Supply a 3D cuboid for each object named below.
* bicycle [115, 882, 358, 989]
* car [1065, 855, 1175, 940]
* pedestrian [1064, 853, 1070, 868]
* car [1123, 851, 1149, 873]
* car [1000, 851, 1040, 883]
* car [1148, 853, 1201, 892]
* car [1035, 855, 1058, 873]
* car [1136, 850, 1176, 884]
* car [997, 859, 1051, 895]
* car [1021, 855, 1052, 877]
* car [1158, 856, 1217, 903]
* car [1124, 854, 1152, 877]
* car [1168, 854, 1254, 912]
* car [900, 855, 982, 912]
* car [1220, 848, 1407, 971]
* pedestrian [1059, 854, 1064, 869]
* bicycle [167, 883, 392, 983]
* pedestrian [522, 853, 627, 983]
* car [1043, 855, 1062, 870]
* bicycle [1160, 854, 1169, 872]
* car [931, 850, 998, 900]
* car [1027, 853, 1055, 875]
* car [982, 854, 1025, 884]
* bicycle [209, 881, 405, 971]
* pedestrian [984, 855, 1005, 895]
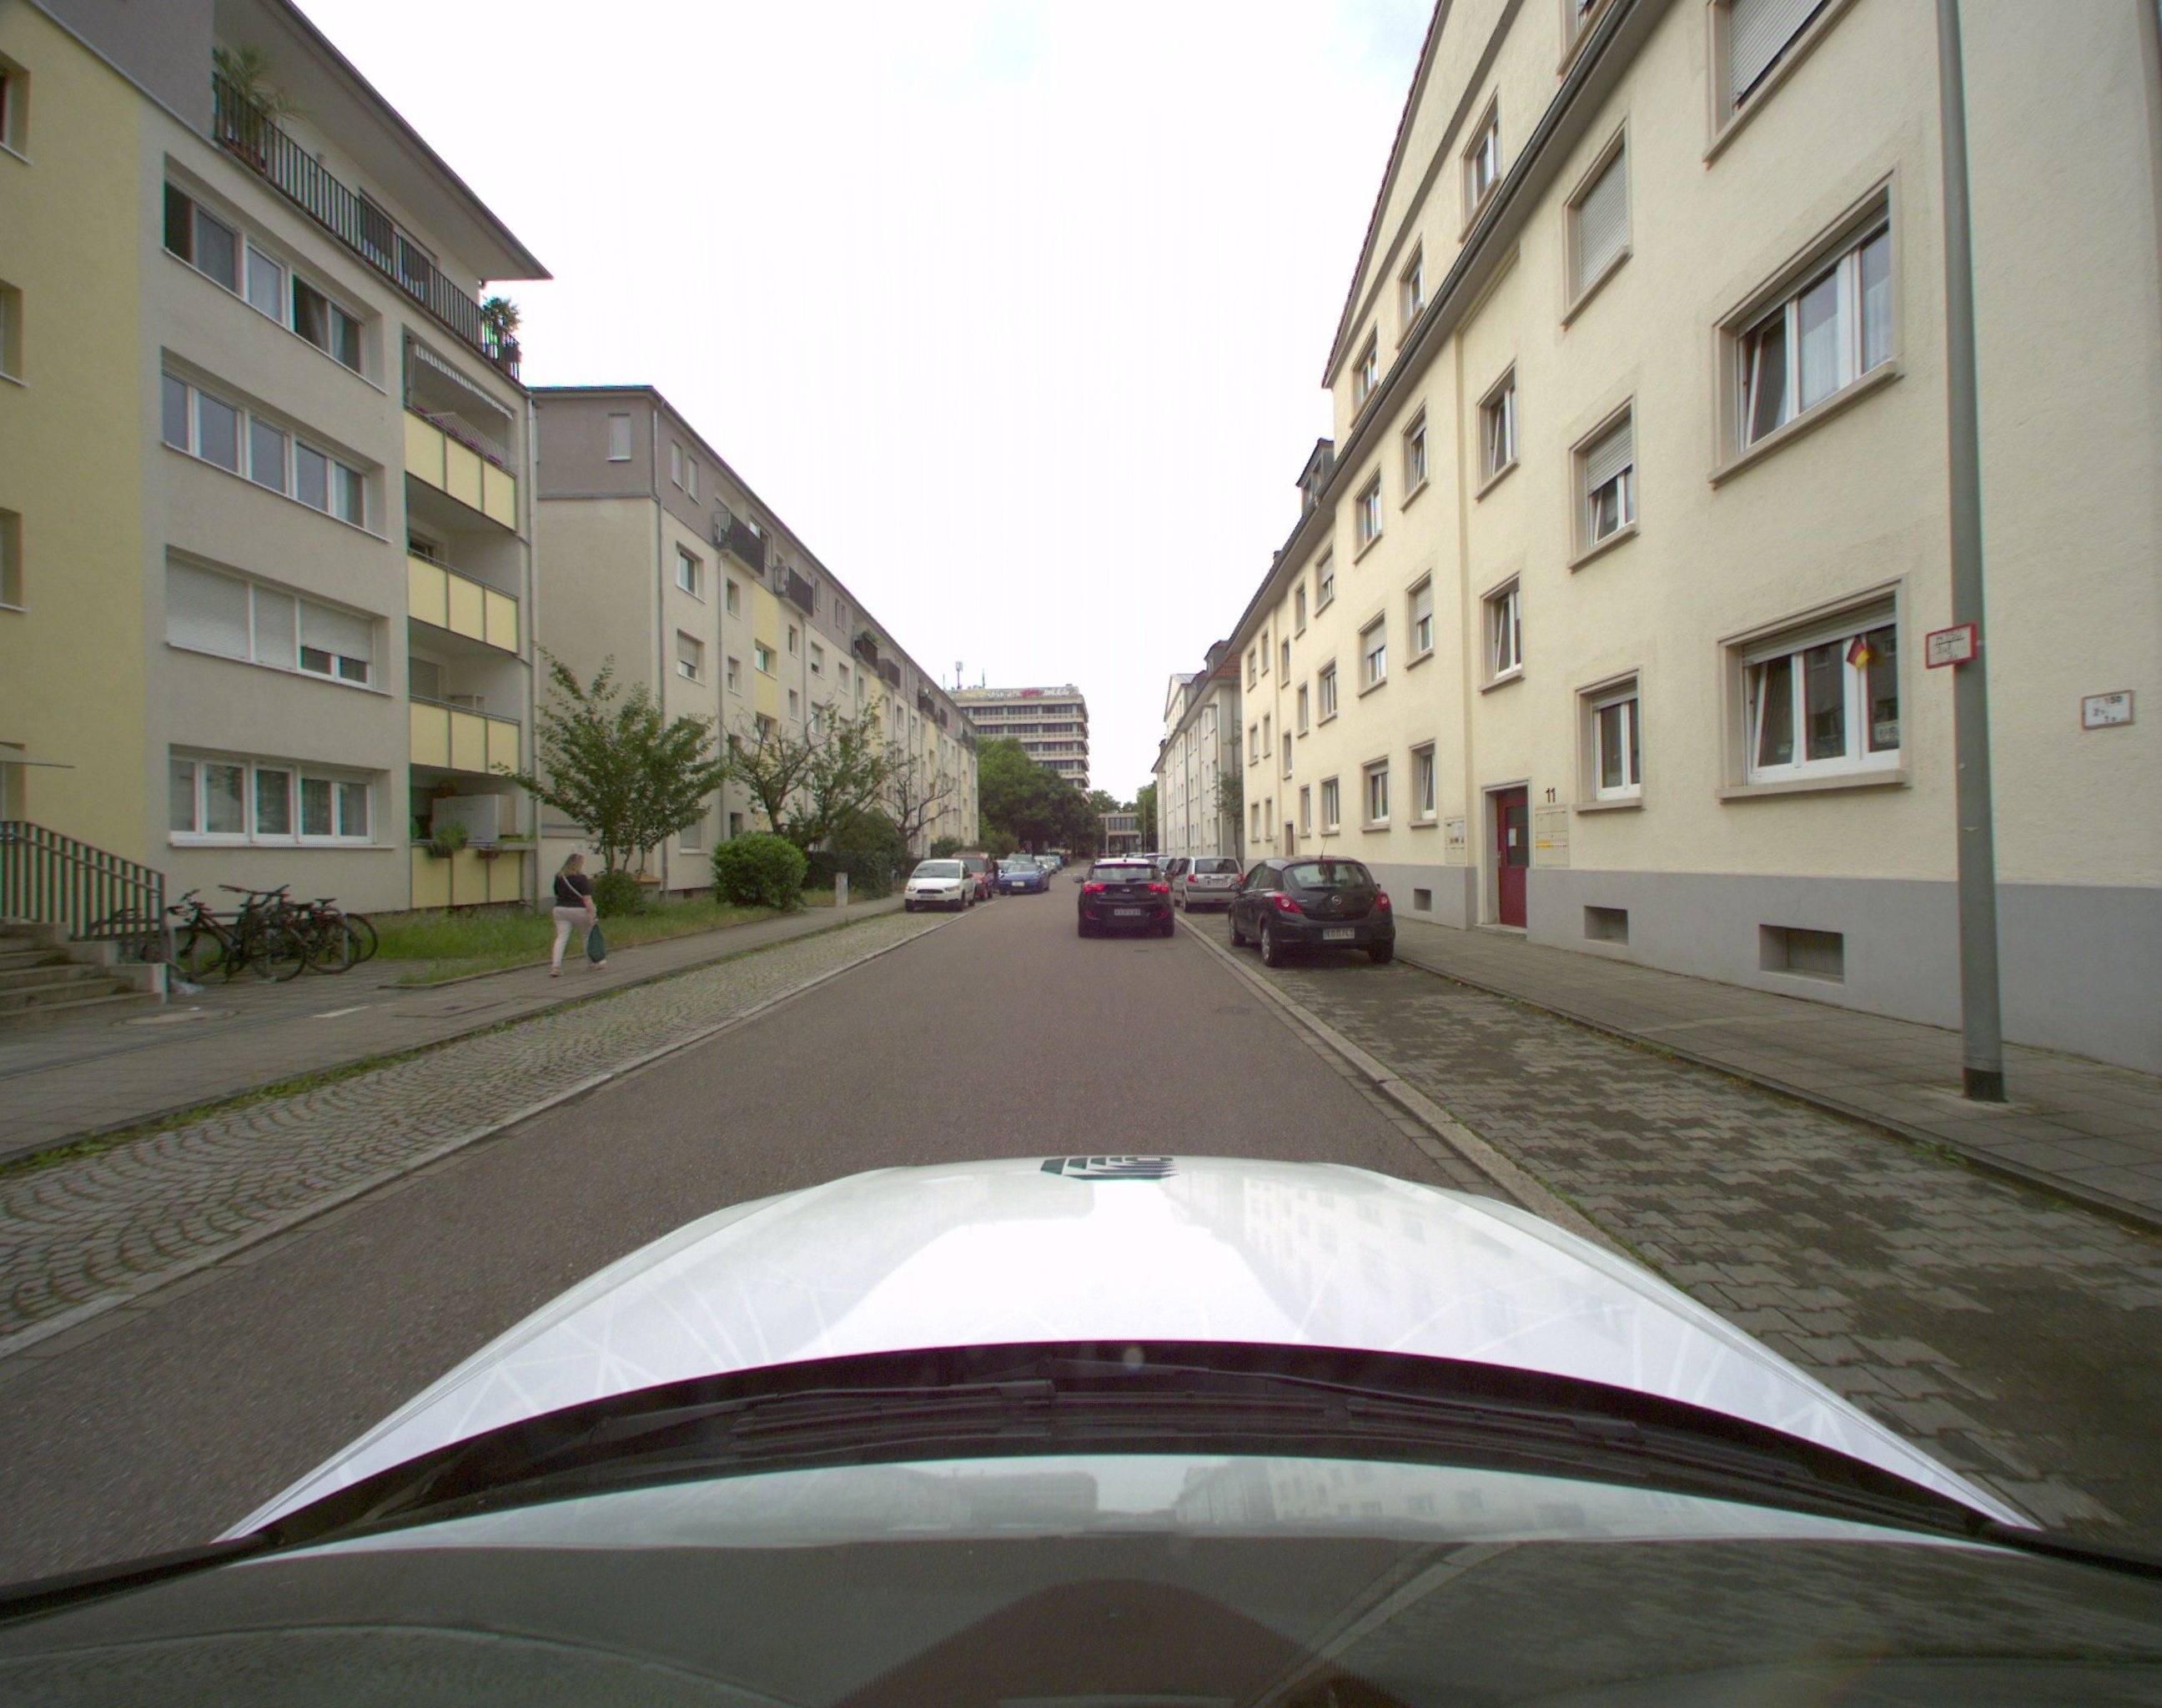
[{"bbox_3d":[-9.998,0.939,9.709,2.022,1.141,0.621,-1,0,-9],"label":"bicycle"},{"bbox_3d":[0.763,0.775,16.506,1.896,1.433,4.235,-2,0,2],"label":"car"},{"bbox_3d":[-1.666,0.767,98.329,0.711,1.831,0.798,-1,0,3],"label":"pedestrian"},{"bbox_3d":[4.246,0.564,63.161,1.813,1.603,4.093,-1,0,2],"label":"car"},{"bbox_3d":[-3.526,0.722,47.894,1.888,1.740,4.476,1,0,1],"label":"car"},{"bbox_3d":[3.686,0.693,32.815,1.718,1.476,4.506,-1,0,2],"label":"car"},{"bbox_3d":[-3.081,0.887,73.845,1.988,1.541,3.998,0,0,-1],"label":"car"},{"bbox_3d":[3.823,0.636,41.977,1.813,1.642,4.093,-1,0,2],"label":"car"},{"bbox_3d":[-2.445,0.956,35.765,1.838,1.451,4.504,-1,0,2],"label":"car"},{"bbox_3d":[-3.180,0.834,59.410,1.888,1.452,4.522,1,0,1],"label":"car"},{"bbox_3d":[3.599,0.821,27.994,1.597,1.476,3.870,0,0,1],"label":"car"},{"bbox_3d":[4.057,0.796,58.116,1.813,1.503,4.093,-1,0,2],"label":"car"},{"bbox_3d":[3.489,0.738,22.530,1.842,1.450,3.834,-1,0,1],"label":"car"},{"bbox_3d":[-4.169,0.833,24.853,1.714,1.570,3.871,1,0,1],"label":"car"},{"bbox_3d":[3.289,0.694,12.350,1.719,1.517,4.061,-1,0,1],"label":"car"},{"bbox_3d":[-2.357,0.935,98.500,0.602,1.831,0.676,-1,0,3],"label":"pedestrian"},{"bbox_3d":[-10.106,0.971,10.334,2.022,1.141,0.621,-1,0,-9],"label":"bicycle"},{"bbox_3d":[-6.633,0.803,10.711,0.798,1.610,0.946,-1,0,-3],"label":"pedestrian"},{"bbox_3d":[-2.985,0.858,86.166,1.988,1.541,3.998,0,0,-1],"label":"car"},{"bbox_3d":[5.779,0.615,56.355,0.527,1.175,2.041,-2,0,7],"label":"bicycle"},{"bbox_3d":[-4.314,0.731,30.692,1.951,1.770,4.360,0,0,-1],"label":"car"},{"bbox_3d":[-3.184,0.779,65.535,1.888,1.599,4.522,1,0,1],"label":"car"},{"bbox_3d":[-3.990,0.746,42.351,1.738,1.464,3.787,-1,0,1],"label":"car"},{"bbox_3d":[-10.611,0.970,11.212,2.017,1.141,0.623,-1,0,-3],"label":"bicycle"},{"bbox_3d":[-3.831,0.908,35.840,0.742,1.701,0.792,-2,0,-16],"label":"pedestrian"}]
